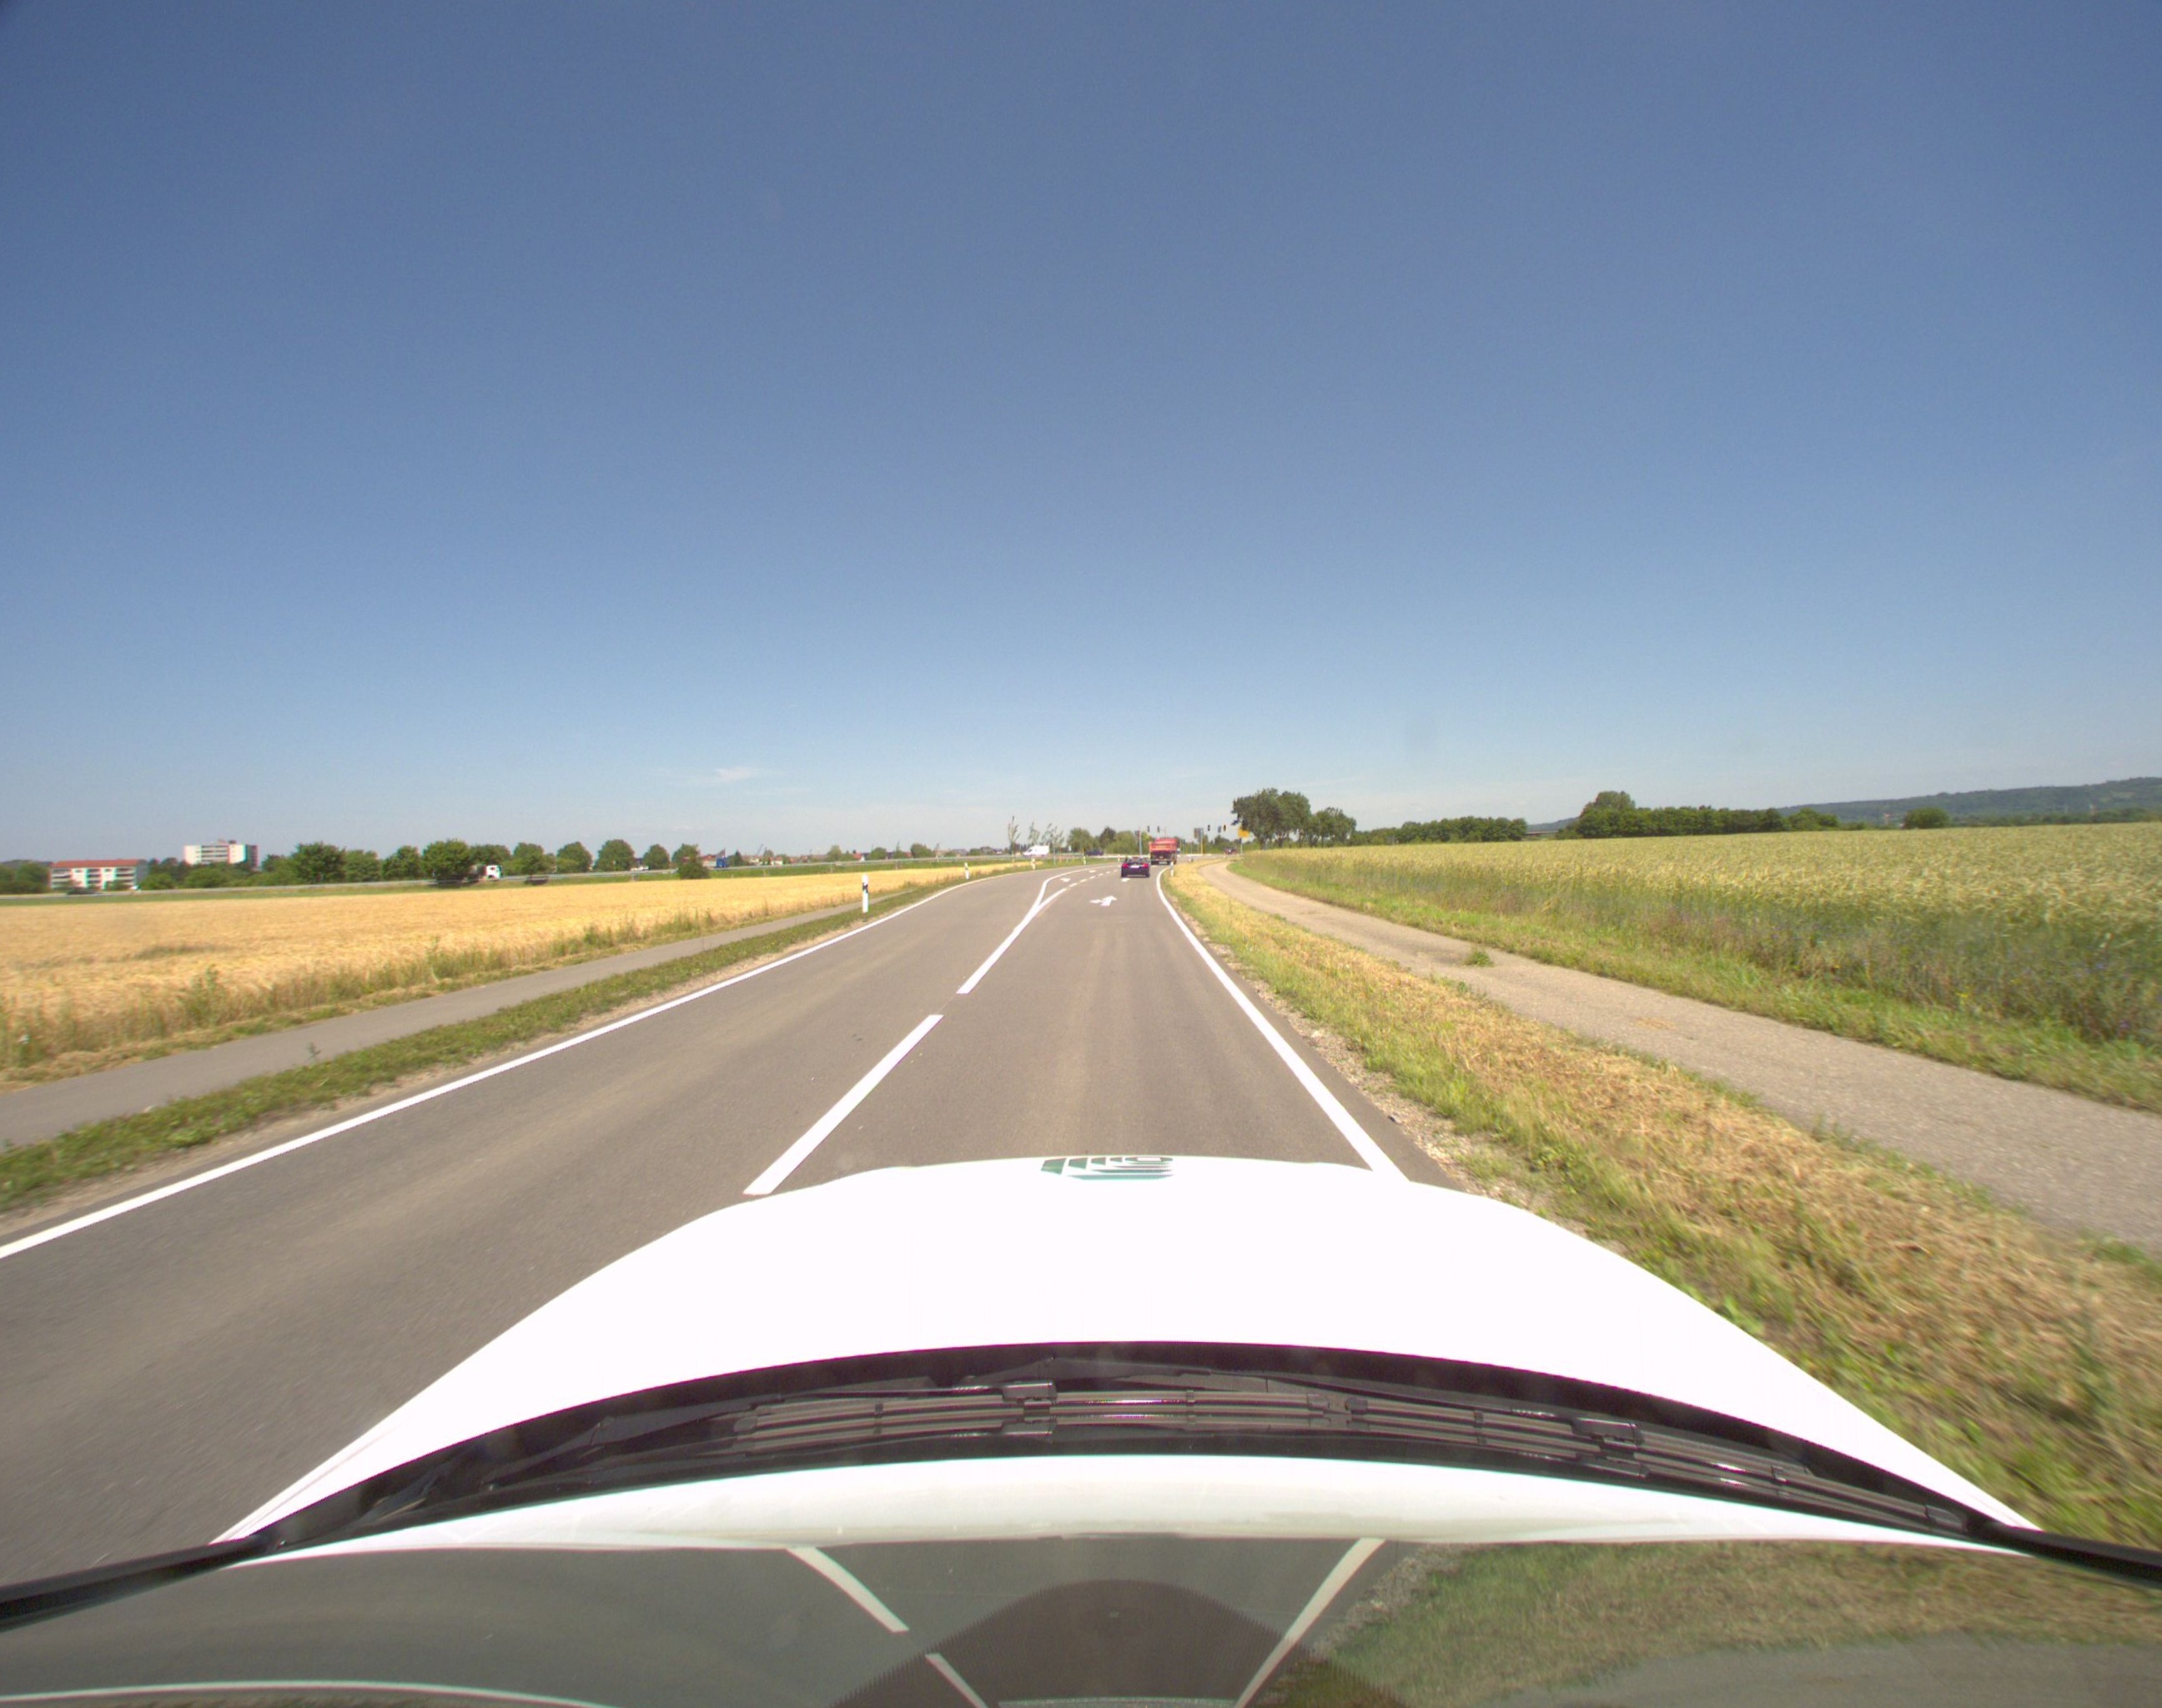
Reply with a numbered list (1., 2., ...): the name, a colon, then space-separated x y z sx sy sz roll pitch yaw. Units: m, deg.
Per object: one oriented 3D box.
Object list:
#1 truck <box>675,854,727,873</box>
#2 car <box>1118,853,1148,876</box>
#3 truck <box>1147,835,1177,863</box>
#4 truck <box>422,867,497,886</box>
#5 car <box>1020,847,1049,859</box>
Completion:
1. truck: -83.000 2.046 177.978 10.061 3.793 2.622 -1 0 -4
2. car: 3.283 0.665 50.969 1.738 1.376 3.685 0 -1 6
3. truck: 9.493 -0.488 94.580 2.697 3.053 8.187 -1 -1 10
4. truck: -129.199 4.682 169.394 12.022 3.614 2.965 -1 0 -18
5. car: -10.218 -0.216 179.775 5.884 2.421 2.253 -1 0 8
